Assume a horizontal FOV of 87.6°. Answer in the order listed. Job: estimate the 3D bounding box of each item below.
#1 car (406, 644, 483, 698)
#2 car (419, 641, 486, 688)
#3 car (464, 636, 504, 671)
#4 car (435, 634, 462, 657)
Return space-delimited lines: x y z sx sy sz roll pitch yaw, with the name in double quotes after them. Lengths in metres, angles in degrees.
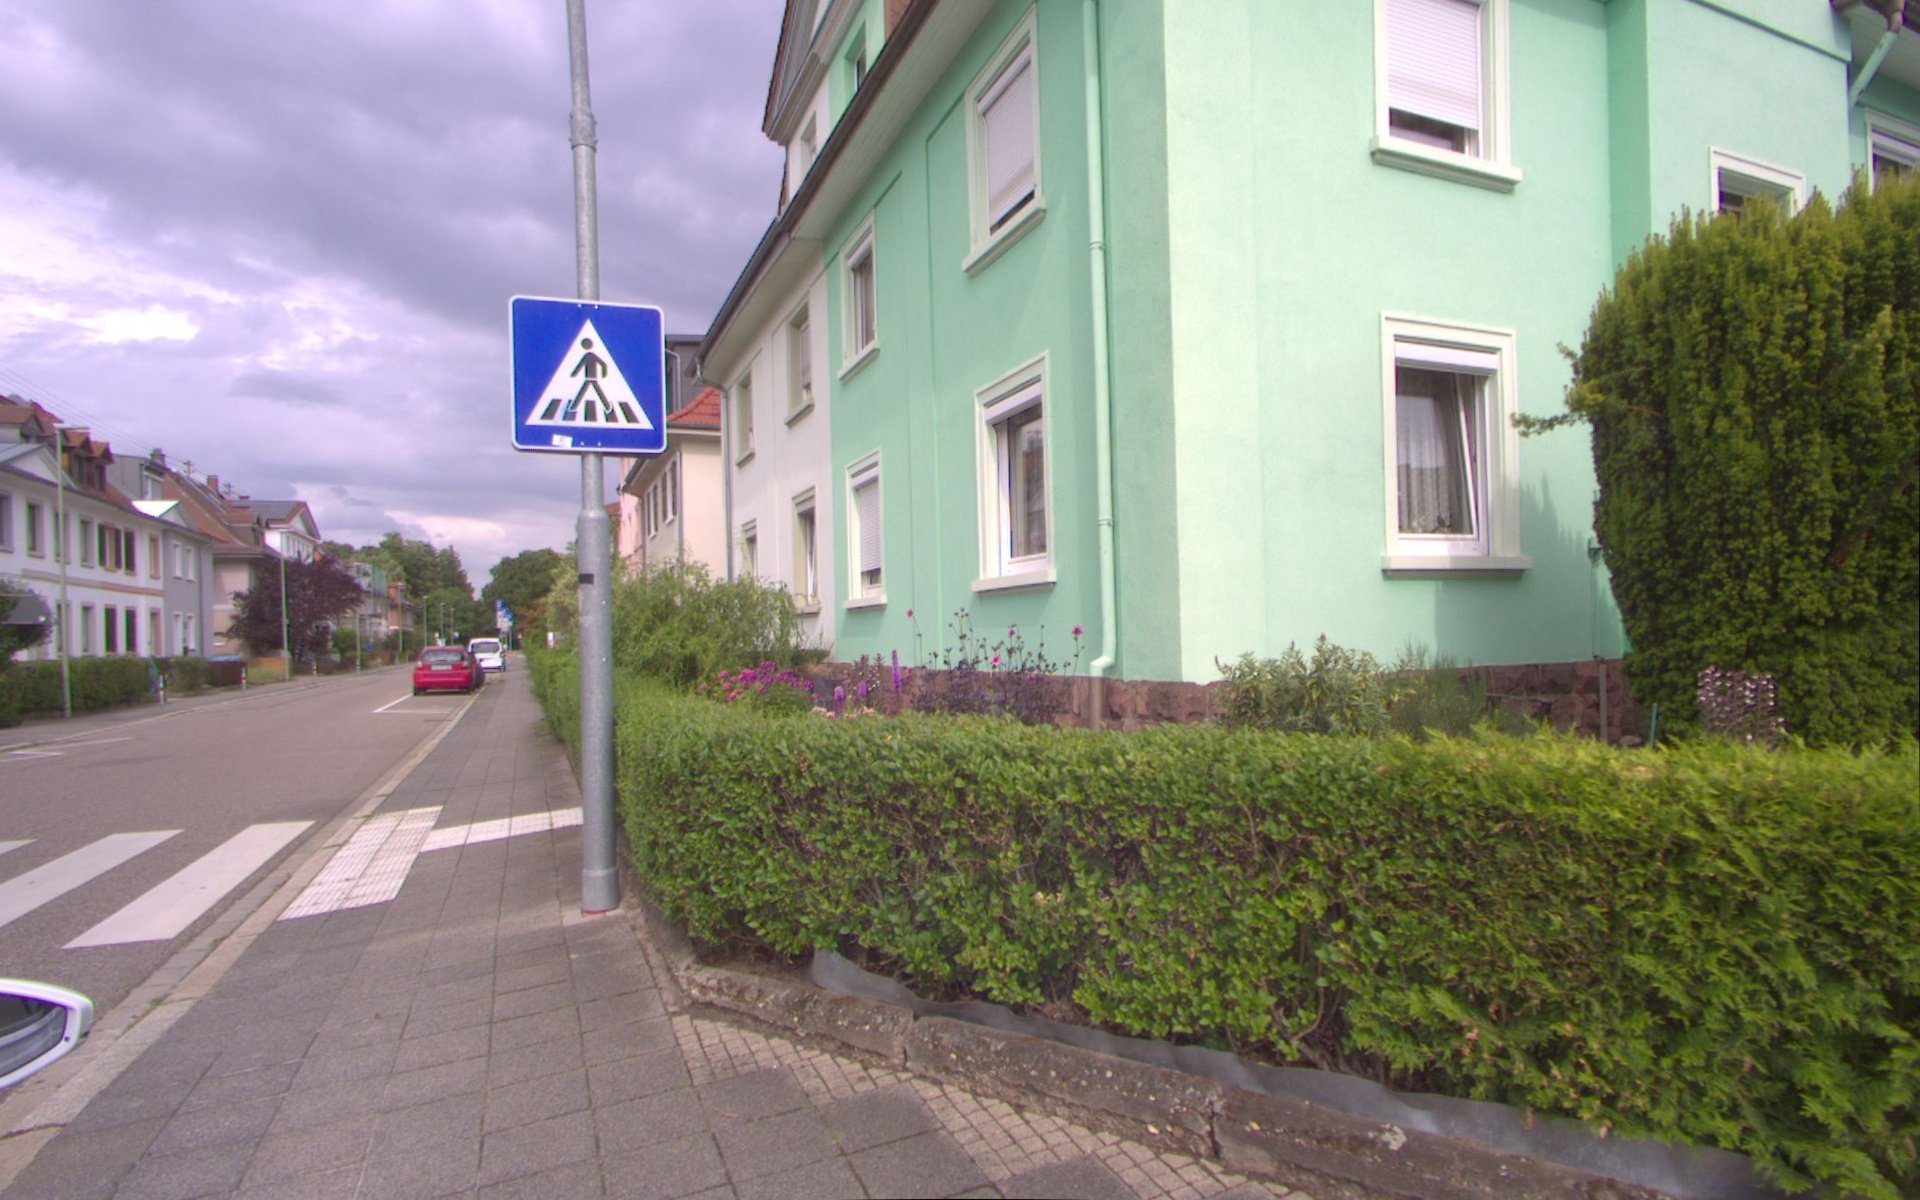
-16.716 2.246 32.639 1.968 1.594 3.988 -1 -2 -24 "car"
-18.857 2.367 37.366 1.968 1.594 3.988 -1 -2 -24 "car"
-27.740 3.102 58.438 1.968 1.928 3.988 -1 -2 -24 "car"
-47.572 4.250 93.187 1.968 2.039 3.988 -1 -2 -23 "car"
